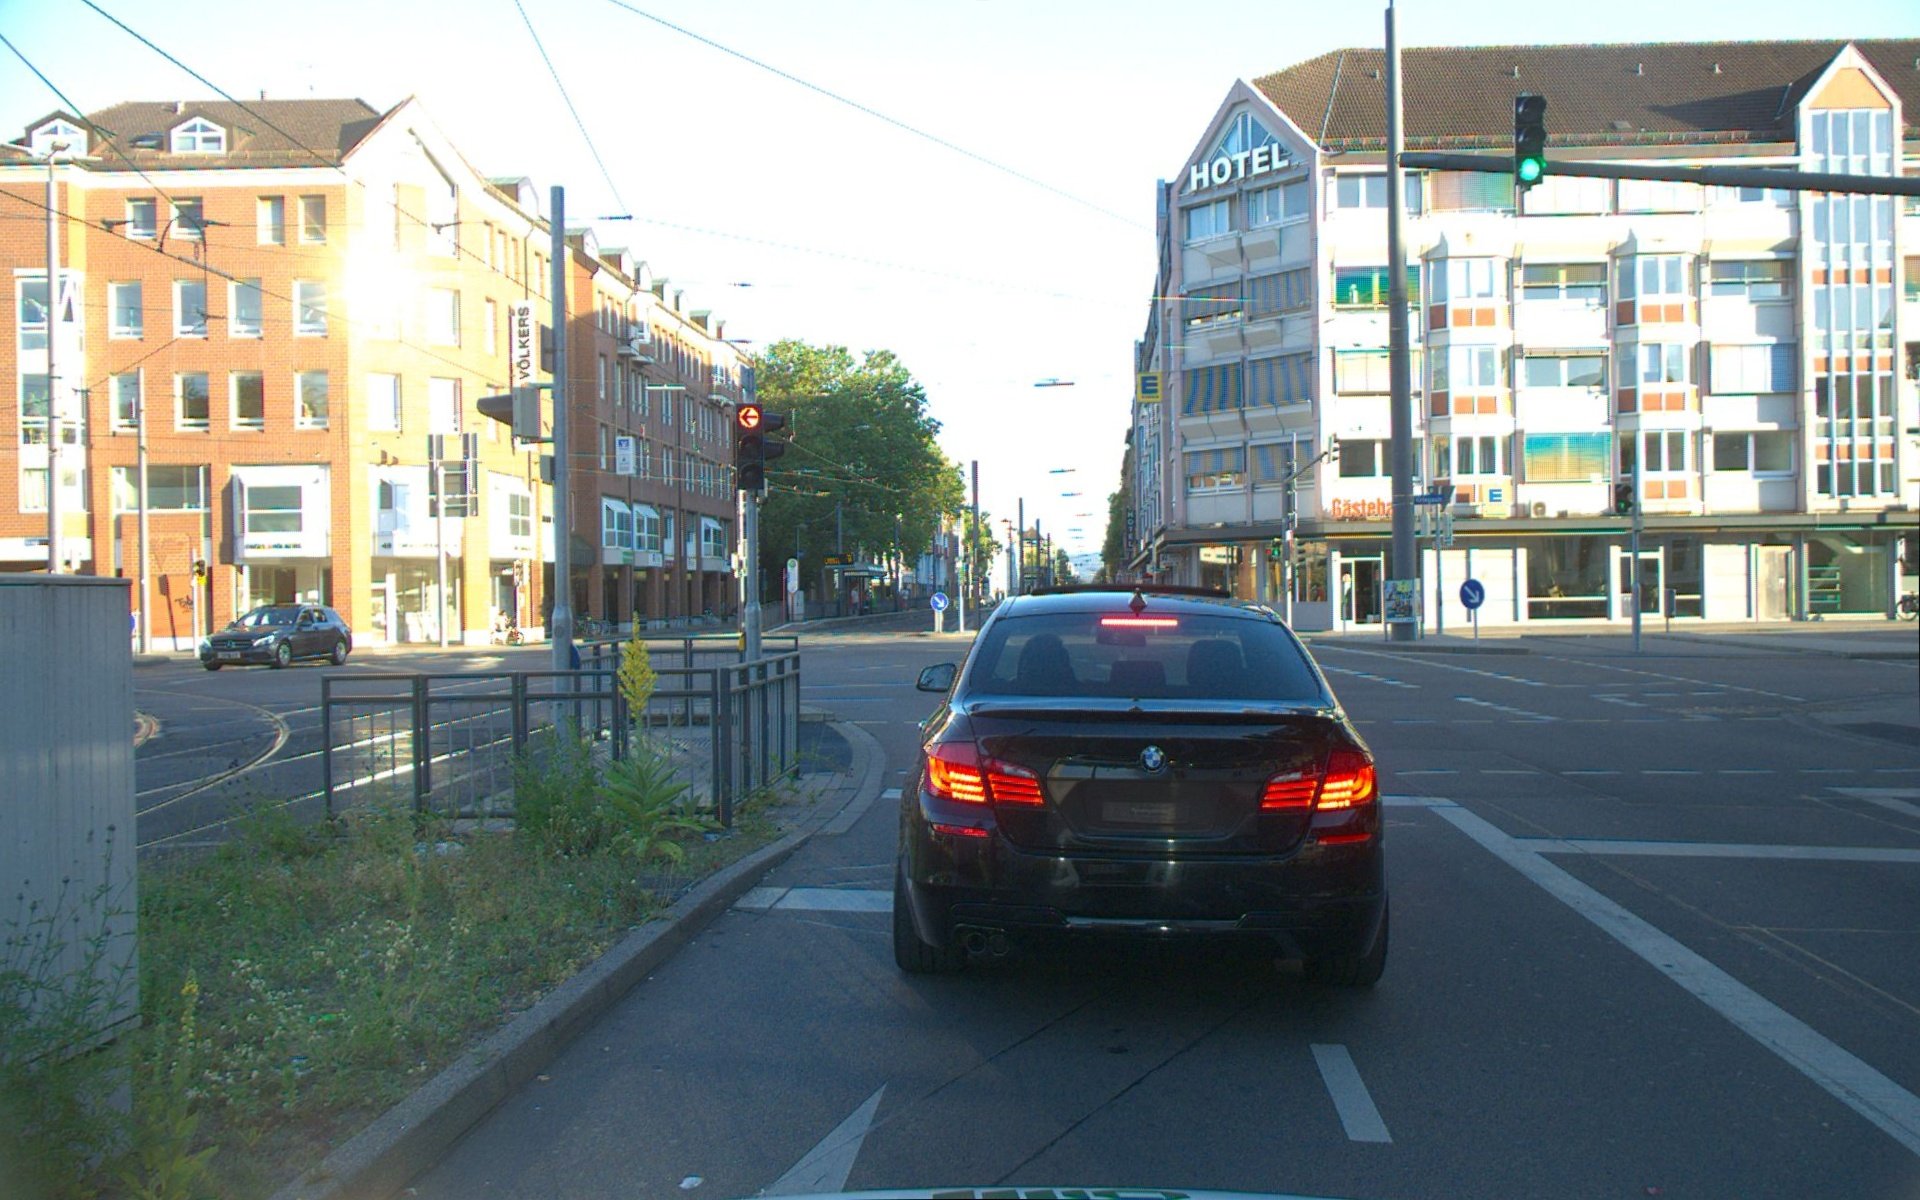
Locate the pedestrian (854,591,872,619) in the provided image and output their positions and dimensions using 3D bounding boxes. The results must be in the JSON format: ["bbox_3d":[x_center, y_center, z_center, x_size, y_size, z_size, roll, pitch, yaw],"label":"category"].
[{"bbox_3d":[-5.902,0.299,100.971,0.967,1.710,0.726,-1,0,3],"label":"pedestrian"}]

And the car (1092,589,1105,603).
[{"bbox_3d":[16.400,-0.460,195.274,1.442,1.541,3.097,-1,0,4],"label":"car"}]

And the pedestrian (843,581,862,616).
[{"bbox_3d":[-6.216,-0.088,95.839,0.967,2.049,0.726,0,0,3],"label":"pedestrian"}]

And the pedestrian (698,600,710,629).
[{"bbox_3d":[-14.775,0.837,95.573,0.475,1.710,0.655,-1,0,9],"label":"pedestrian"}]

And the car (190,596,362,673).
[{"bbox_3d":[-15.738,0.757,38.342,1.952,1.612,4.480,-1,0,2],"label":"car"}]

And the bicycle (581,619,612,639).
[{"bbox_3d":[-16.751,1.337,76.257,1.387,0.938,0.443,1,0,-11],"label":"bicycle"}]

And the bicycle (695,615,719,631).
[{"bbox_3d":[-14.821,1.337,96.798,1.386,0.938,0.402,1,0,-9],"label":"bicycle"}]

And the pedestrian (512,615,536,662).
[{"bbox_3d":[-17.927,1.597,67.989,0.620,1.900,0.677,1,0,31],"label":"pedestrian"}]

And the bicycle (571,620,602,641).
[{"bbox_3d":[-16.771,1.363,74.272,1.259,0.938,0.349,1,0,1],"label":"bicycle"}]

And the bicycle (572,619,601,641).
[{"bbox_3d":[-16.914,1.358,74.938,1.263,0.938,0.348,1,0,-12],"label":"bicycle"}]

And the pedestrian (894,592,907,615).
[{"bbox_3d":[-4.342,0.260,120.766,0.708,1.710,0.992,-1,0,7],"label":"pedestrian"}]

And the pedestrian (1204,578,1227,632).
[{"bbox_3d":[9.020,0.184,58.438,0.670,1.886,0.671,-1,0,1],"label":"pedestrian"}]

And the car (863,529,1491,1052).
[{"bbox_3d":[0.717,0.581,7.225,1.952,1.612,4.001,1,1,1],"label":"car"}]

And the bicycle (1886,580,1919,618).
[{"bbox_3d":[33.376,-0.065,57.092,2.355,1.287,0.823,-1,0,-1],"label":"bicycle"}]
